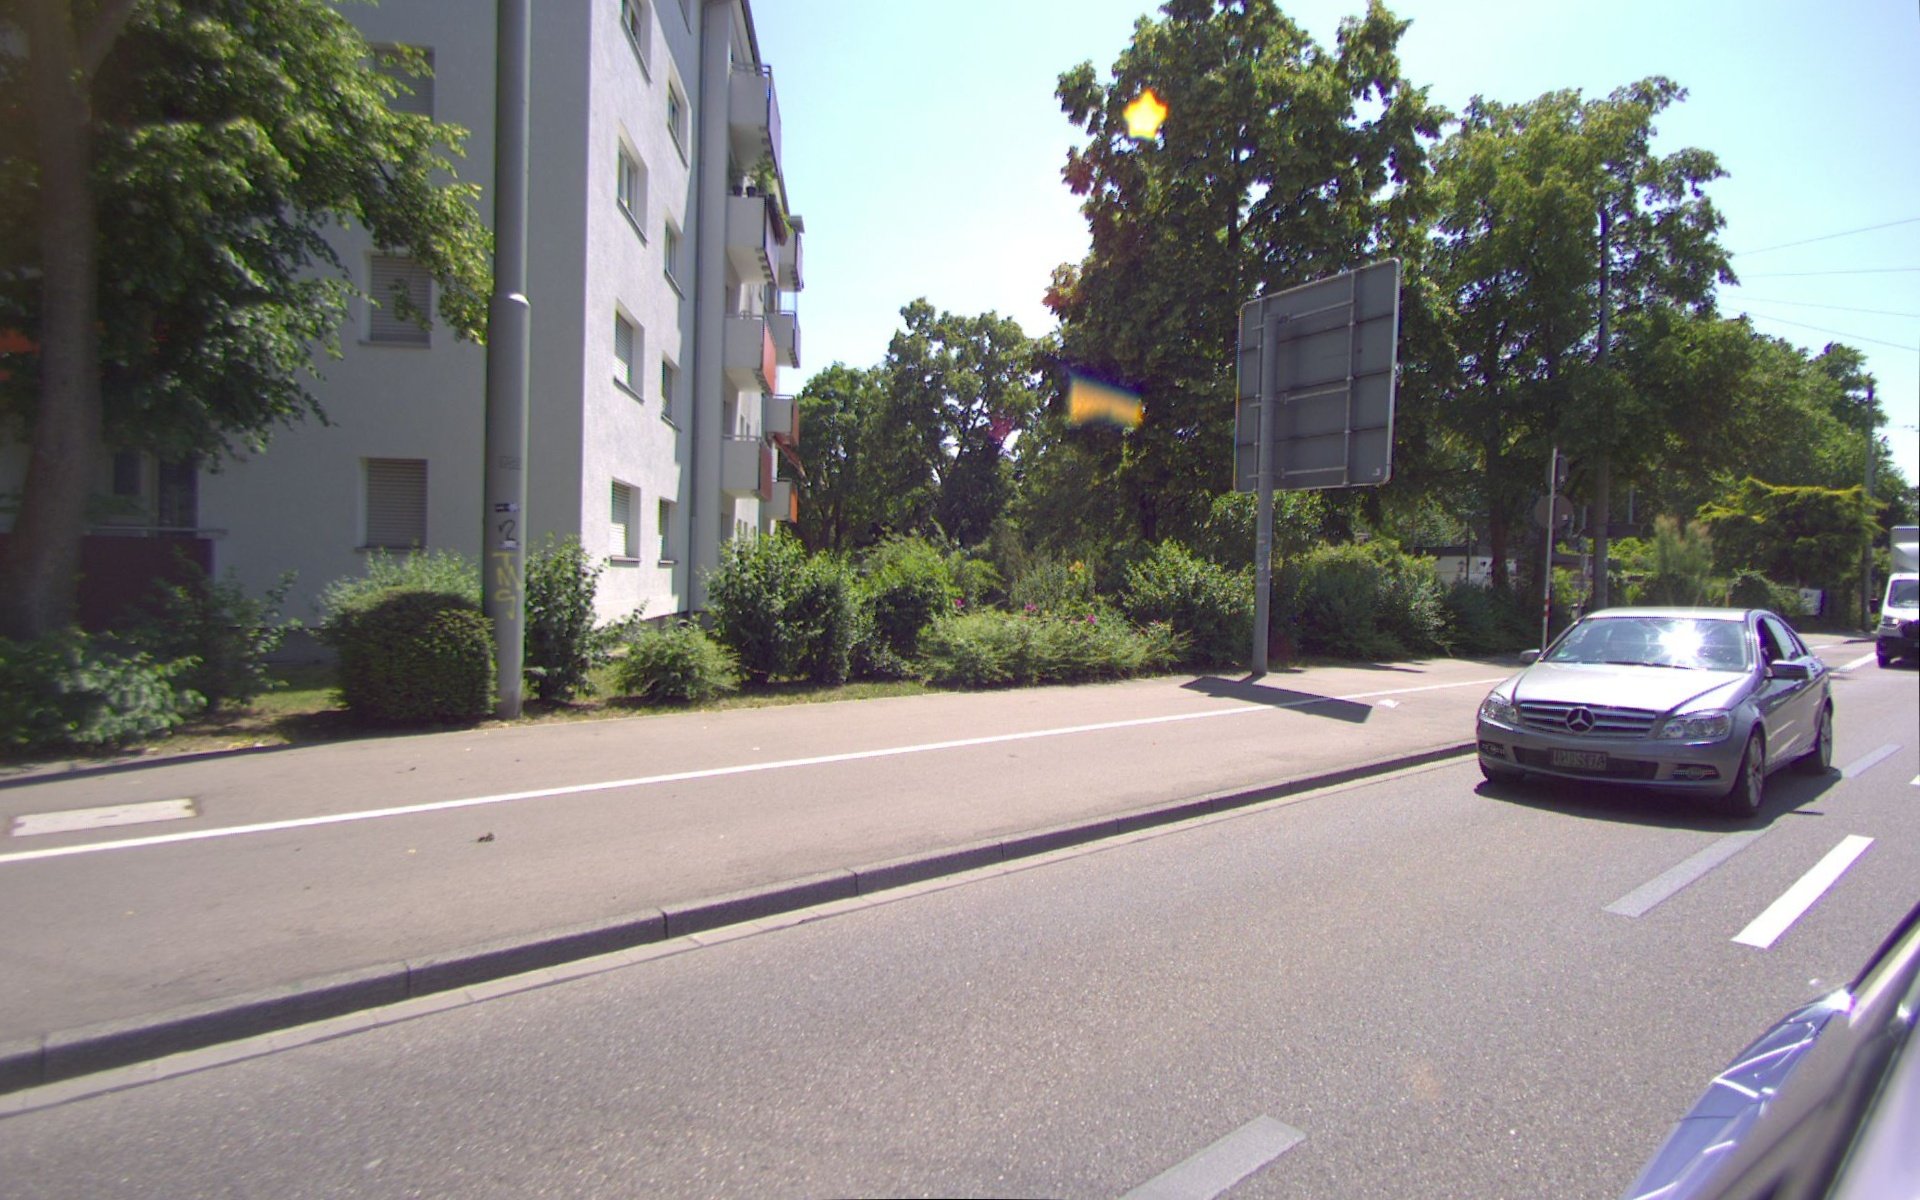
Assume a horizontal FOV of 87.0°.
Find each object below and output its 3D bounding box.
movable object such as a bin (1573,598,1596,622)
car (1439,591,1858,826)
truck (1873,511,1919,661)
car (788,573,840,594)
[{"bbox_3d":[25.461,0.402,41.251,0.625,0.914,0.631,0,1,-37],"label":"movable object such as a bin"},{"bbox_3d":[5.822,0.688,8.396,3.900,1.478,1.902,1,0,-40],"label":"car"},{"bbox_3d":[24.576,-0.331,24.620,8.163,3.319,2.294,0,1,-39],"label":"truck"},{"bbox_3d":[-10.327,-1.183,71.469,1.963,1.456,3.999,0,2,-36],"label":"car"}]
